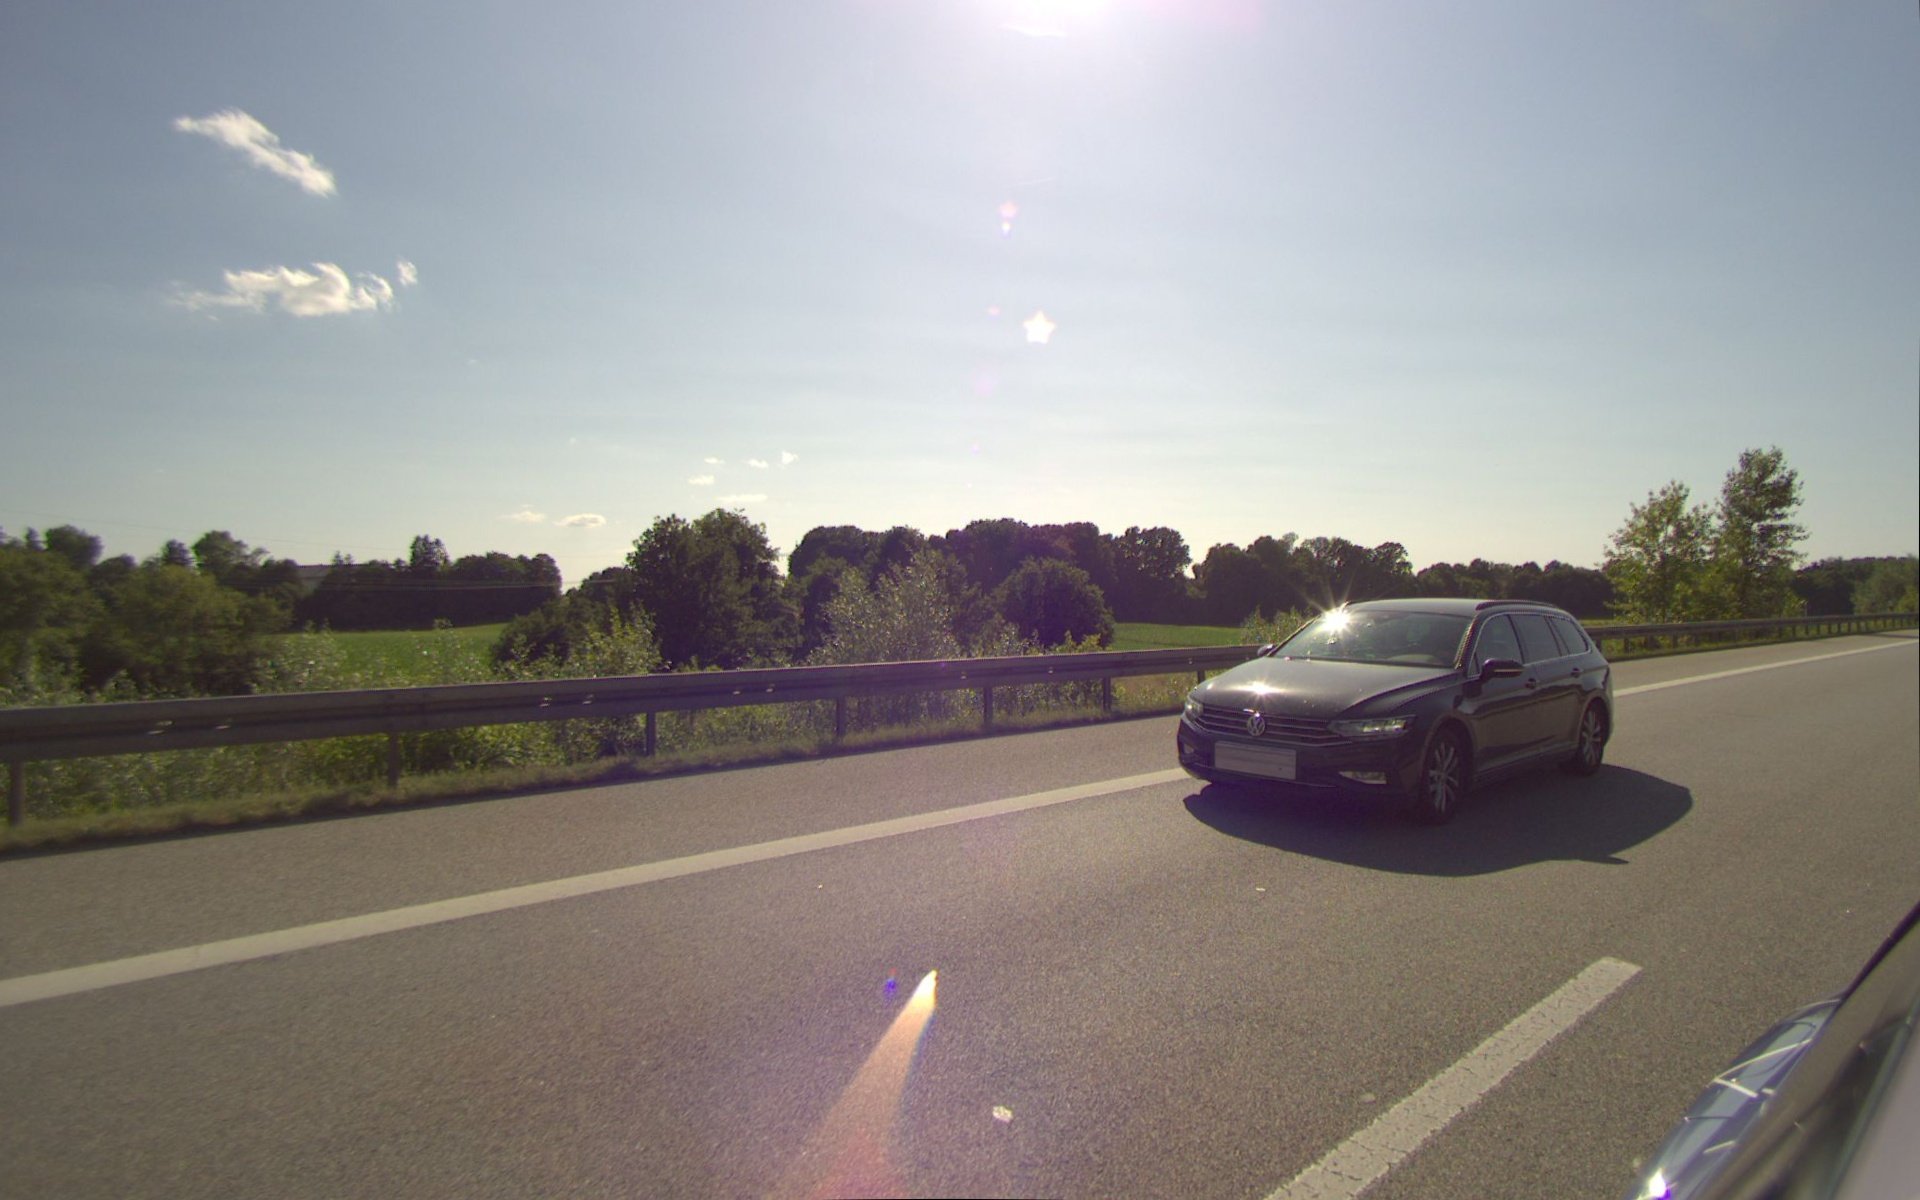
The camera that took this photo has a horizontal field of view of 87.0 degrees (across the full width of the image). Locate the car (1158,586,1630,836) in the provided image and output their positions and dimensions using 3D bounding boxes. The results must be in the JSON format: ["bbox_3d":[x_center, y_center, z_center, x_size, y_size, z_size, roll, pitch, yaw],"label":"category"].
[{"bbox_3d":[3.574,0.612,7.895,4.337,1.417,1.721,-1,1,-42],"label":"car"}]
